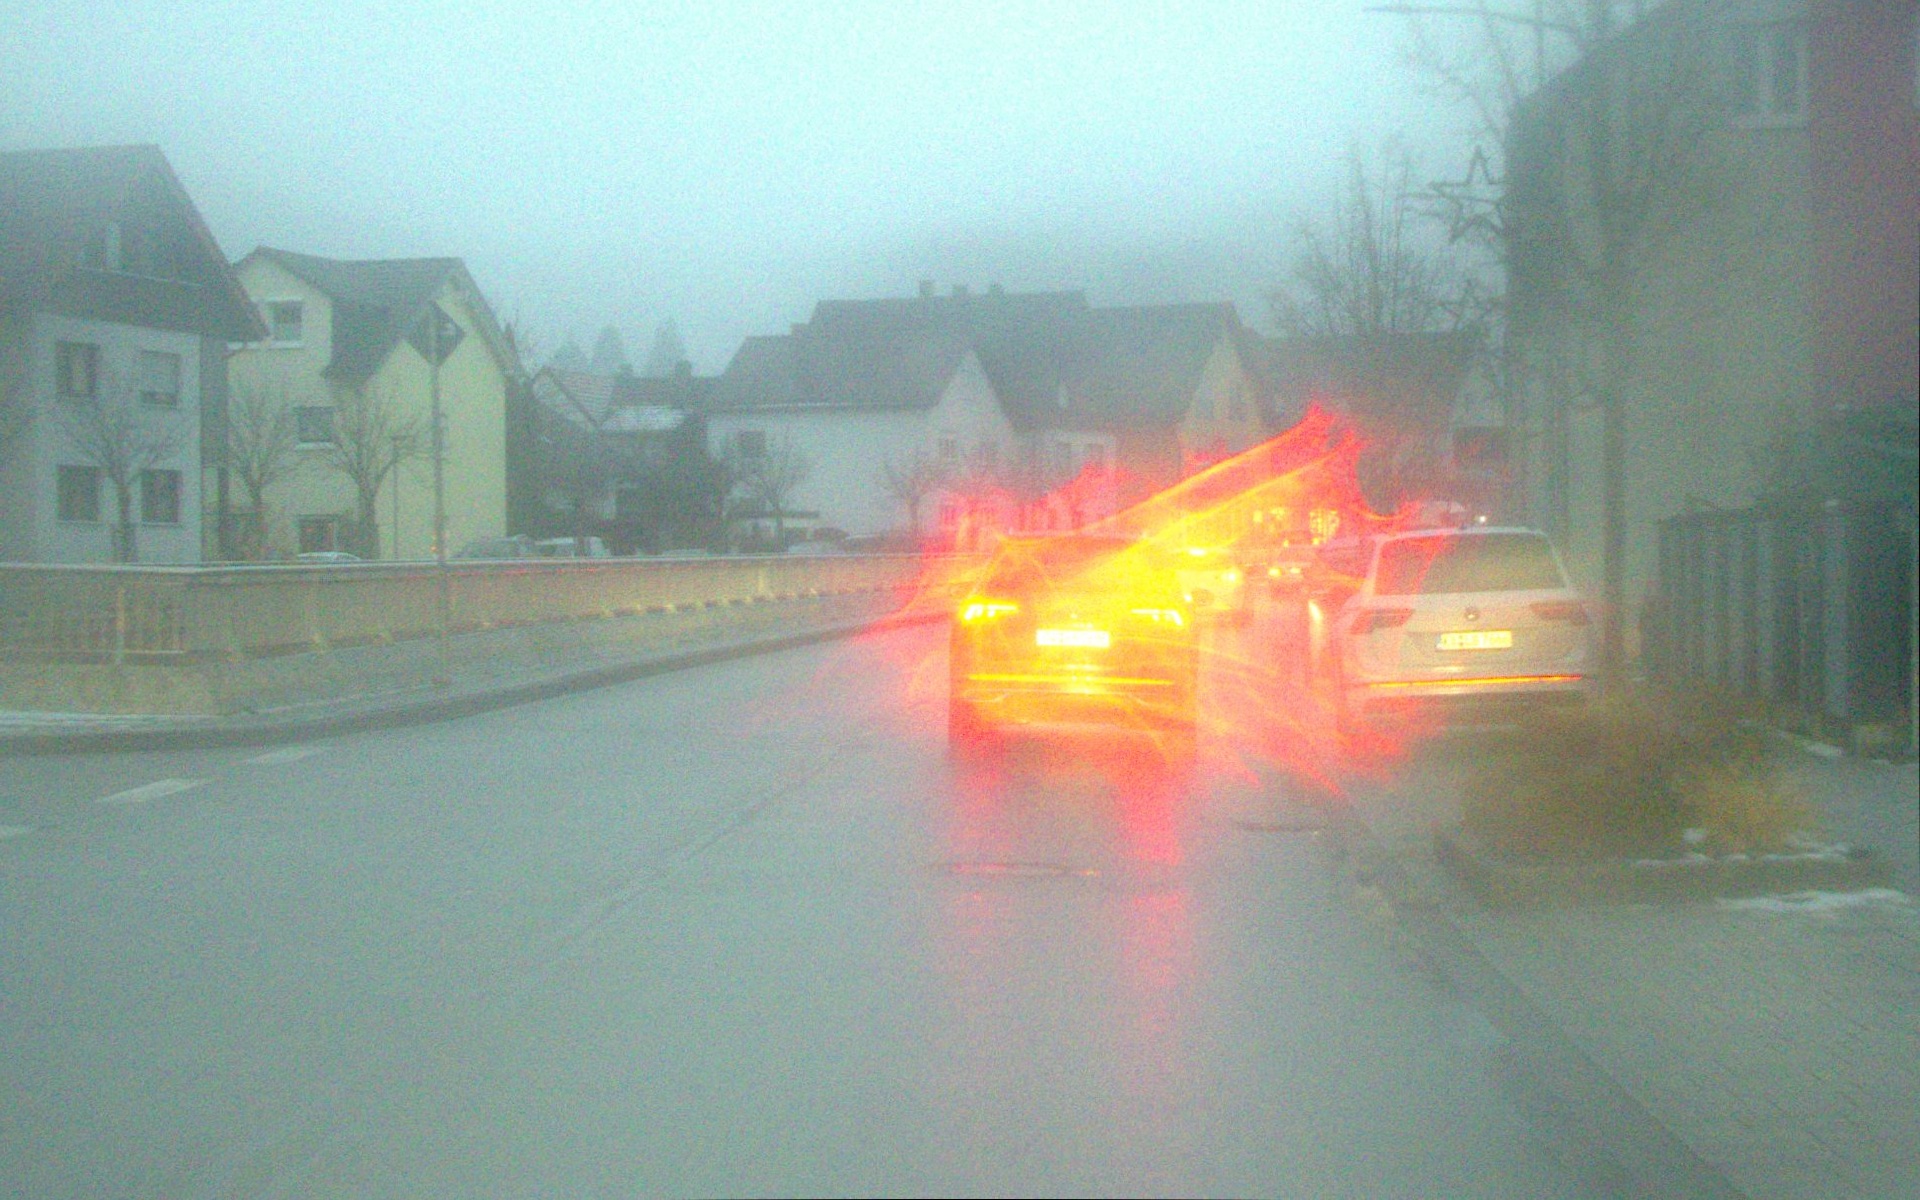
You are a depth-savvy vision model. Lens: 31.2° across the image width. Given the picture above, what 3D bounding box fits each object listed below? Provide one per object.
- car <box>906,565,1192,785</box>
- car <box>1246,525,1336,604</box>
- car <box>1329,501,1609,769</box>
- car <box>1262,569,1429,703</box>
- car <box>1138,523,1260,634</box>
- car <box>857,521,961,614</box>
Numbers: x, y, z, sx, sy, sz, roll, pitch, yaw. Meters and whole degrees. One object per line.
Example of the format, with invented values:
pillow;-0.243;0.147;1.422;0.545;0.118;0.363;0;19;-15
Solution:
car;0.750;0.510;26.156;1.994;1.520;4.000;1;0;4
car;8.791;-0.917;91.001;1.994;2.007;3.998;1;0;11
car;3.712;0.197;25.665;1.745;1.779;4.335;-2;1;5
car;5.147;0.500;45.501;1.994;1.664;3.998;1;-1;9
car;4.548;-0.394;64.898;1.994;2.007;3.999;1;0;8
car;-1.111;-0.703;77.373;1.994;2.007;3.999;1;0;4
